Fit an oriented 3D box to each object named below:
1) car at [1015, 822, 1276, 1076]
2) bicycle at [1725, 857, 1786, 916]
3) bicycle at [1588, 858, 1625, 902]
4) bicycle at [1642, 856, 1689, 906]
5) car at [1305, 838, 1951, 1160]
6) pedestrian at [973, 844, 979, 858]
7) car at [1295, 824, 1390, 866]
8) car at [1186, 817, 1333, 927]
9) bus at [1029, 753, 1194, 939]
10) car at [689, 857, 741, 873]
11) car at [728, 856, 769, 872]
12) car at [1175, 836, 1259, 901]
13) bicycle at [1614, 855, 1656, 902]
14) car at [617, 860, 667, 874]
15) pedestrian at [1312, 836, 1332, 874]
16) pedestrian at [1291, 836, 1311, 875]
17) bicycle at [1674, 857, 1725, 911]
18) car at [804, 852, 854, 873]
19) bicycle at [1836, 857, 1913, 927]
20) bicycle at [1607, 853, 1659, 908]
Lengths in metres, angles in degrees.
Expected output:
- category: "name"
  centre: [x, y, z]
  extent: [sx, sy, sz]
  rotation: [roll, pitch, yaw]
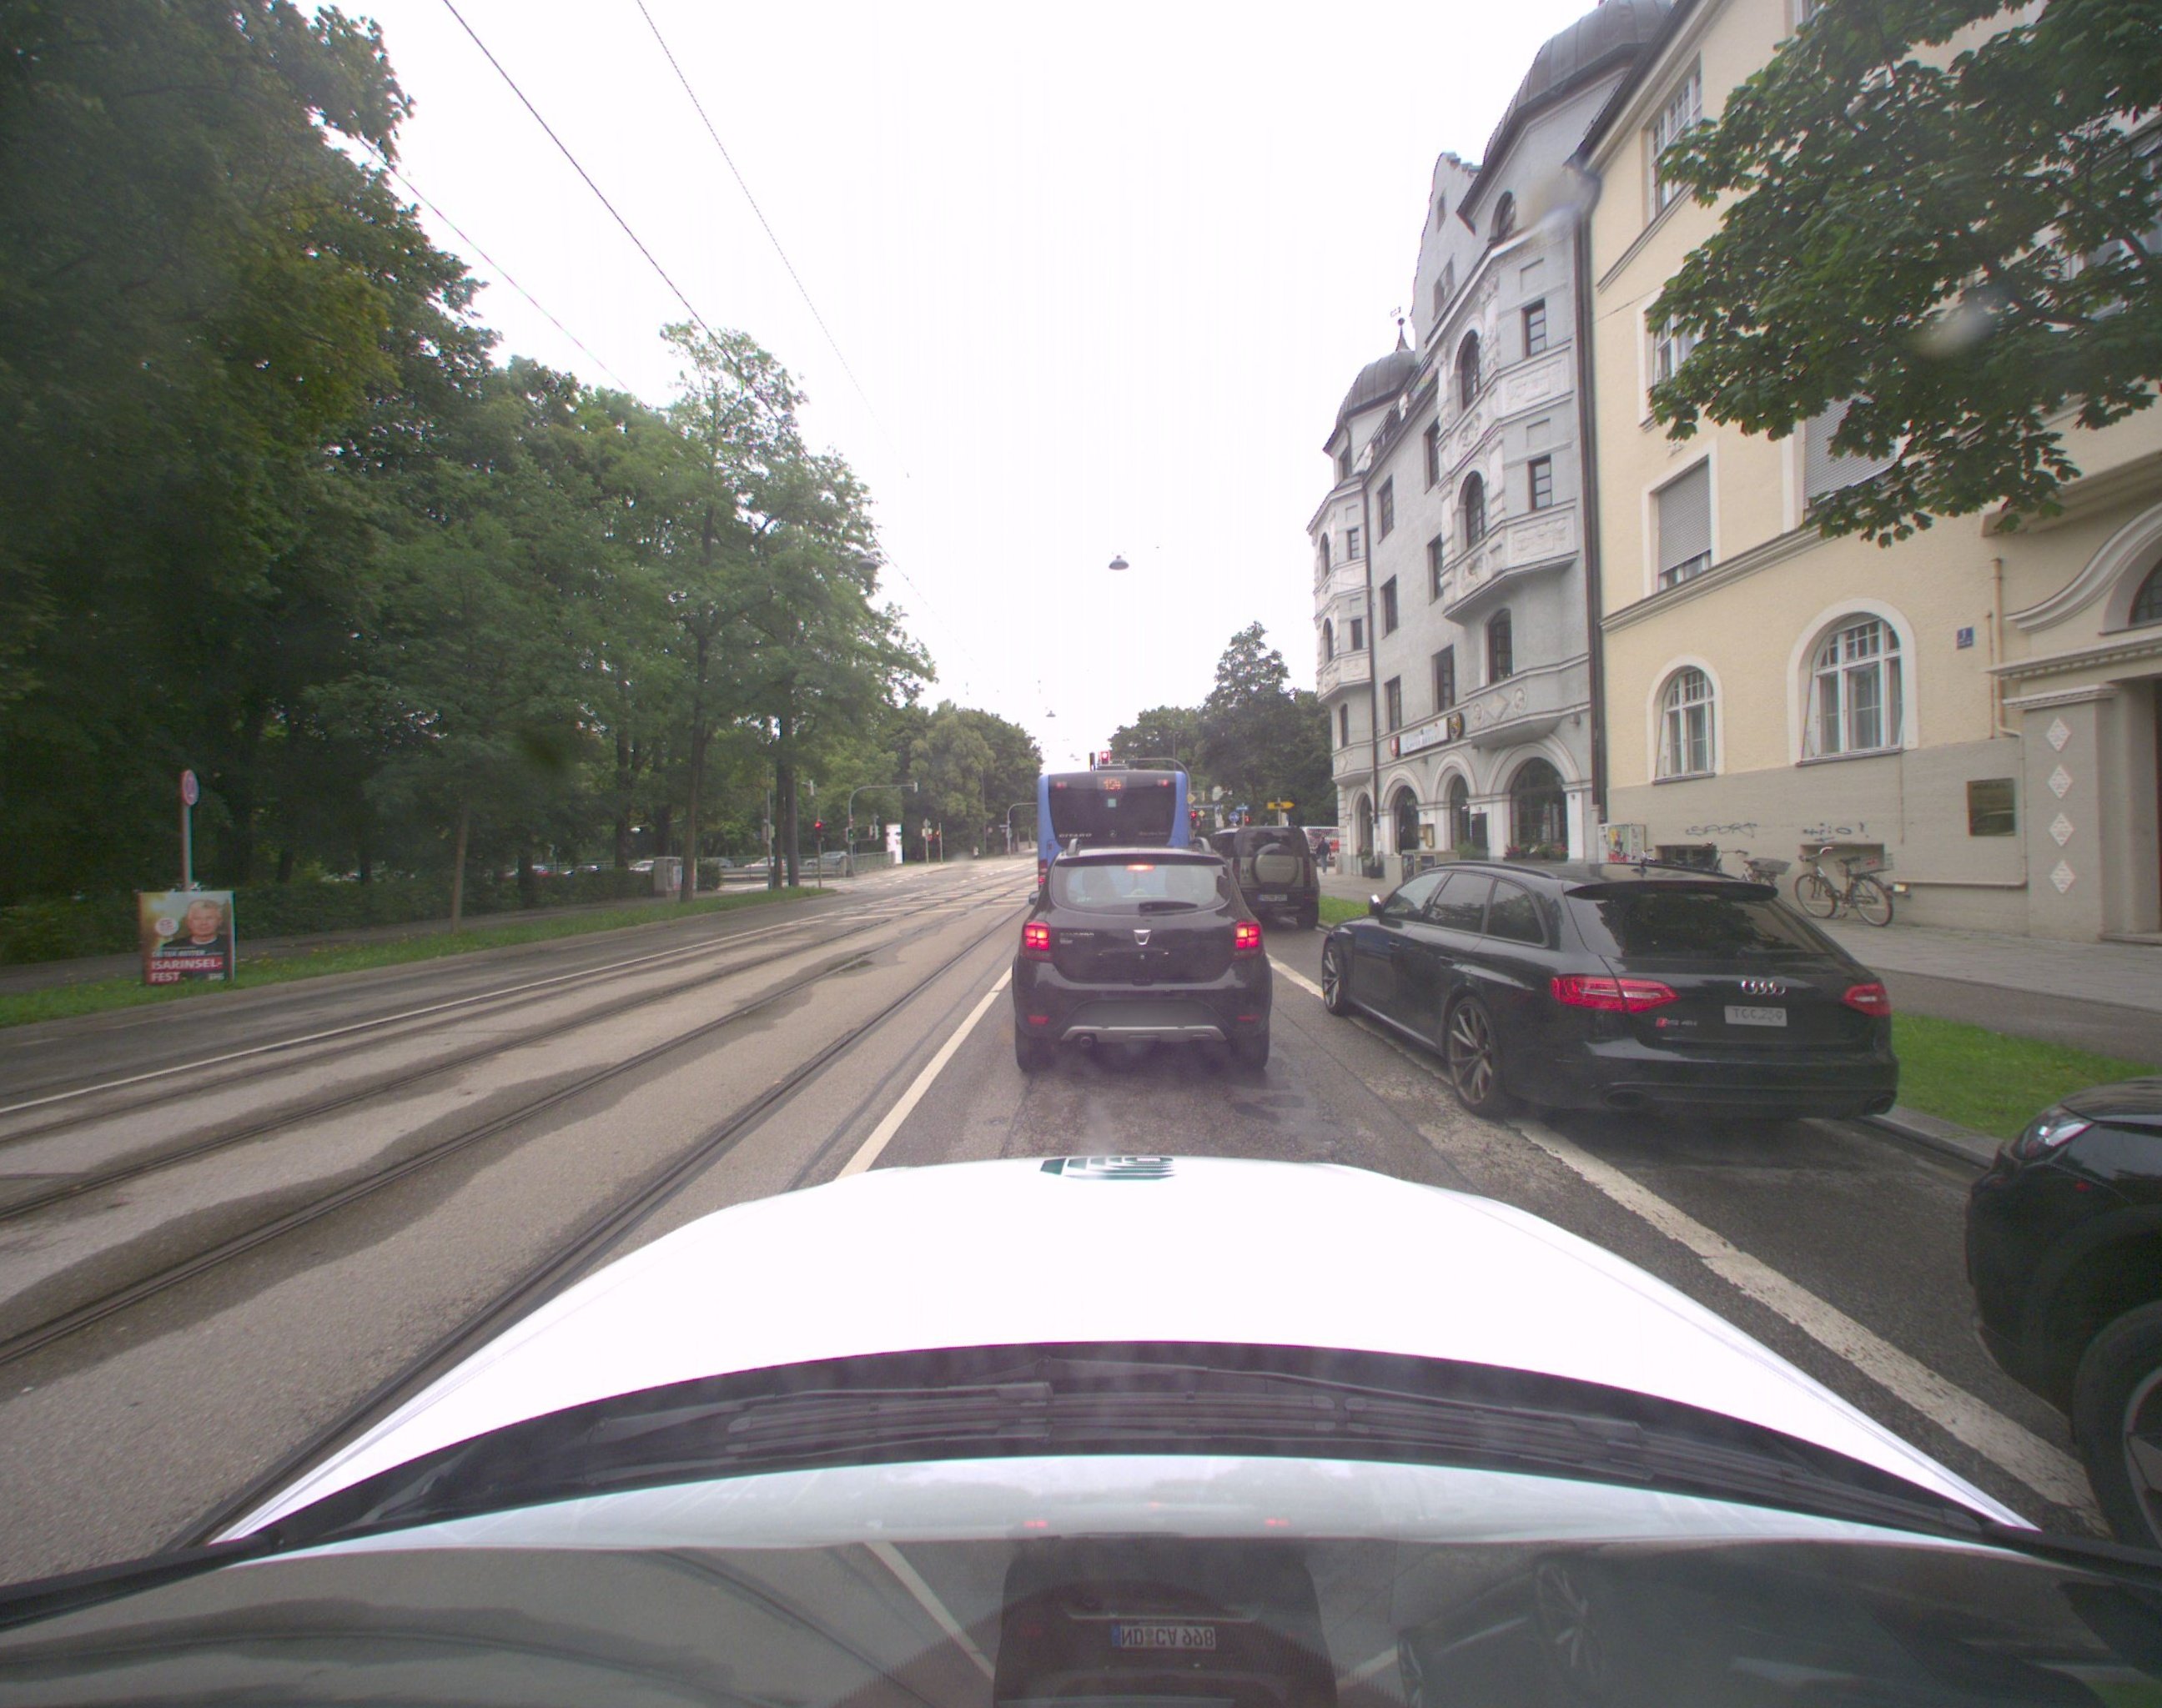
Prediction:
- category: "car"
  centre: [0.435, 0.580, 6.749]
  extent: [1.595, 1.556, 3.526]
  rotation: [0, 0, 1]
- category: "bicycle"
  centre: [11.000, 0.513, 13.302]
  extent: [0.284, 0.930, 0.886]
  rotation: [0, 0, 3]
- category: "bicycle"
  centre: [11.284, 0.546, 17.503]
  extent: [0.258, 0.930, 0.886]
  rotation: [0, 0, 3]
- category: "bicycle"
  centre: [11.192, 0.497, 15.606]
  extent: [0.304, 0.930, 0.886]
  rotation: [0, 0, 4]
- category: "car"
  centre: [3.061, 0.642, 5.924]
  extent: [1.709, 1.426, 4.603]
  rotation: [0, 0, 1]
- category: "pedestrian"
  centre: [-10.797, -0.318, 83.907]
  extent: [0.529, 1.501, 0.589]
  rotation: [0, 0, 6]
- category: "car"
  centre: [16.375, -0.551, 51.199]
  extent: [5.281, 2.612, 2.229]
  rotation: [0, 0, -2]
- category: "car"
  centre: [3.402, 0.303, 16.494]
  extent: [1.908, 1.905, 4.807]
  rotation: [0, 0, 0]
- category: "bus"
  centre: [0.501, -0.133, 16.625]
  extent: [2.670, 2.997, 6.960]
  rotation: [0, 0, 0]
- category: "car"
  centre: [-32.981, 1.020, 73.406]
  extent: [3.915, 1.404, 1.719]
  rotation: [0, 0, -3]
- category: "car"
  centre: [-29.929, 0.883, 73.334]
  extent: [3.103, 1.452, 1.249]
  rotation: [0, 0, -4]
- category: "car"
  centre: [3.572, 0.353, 22.118]
  extent: [1.708, 1.591, 4.329]
  rotation: [0, 0, 2]
- category: "bicycle"
  centre: [11.255, 0.493, 16.566]
  extent: [0.289, 0.930, 0.886]
  rotation: [0, 0, 3]
- category: "car"
  centre: [-39.396, 1.162, 73.091]
  extent: [3.720, 1.185, 1.249]
  rotation: [0, 0, -4]
- category: "pedestrian"
  centre: [11.195, 0.055, 37.809]
  extent: [0.702, 1.732, 0.843]
  rotation: [0, 0, 2]
- category: "pedestrian"
  centre: [10.376, 0.048, 38.428]
  extent: [0.702, 1.816, 0.870]
  rotation: [0, 0, 2]
- category: "bicycle"
  centre: [11.100, 0.520, 14.637]
  extent: [0.271, 0.930, 0.886]
  rotation: [0, 0, 3]
- category: "car"
  centre: [-22.866, 0.752, 73.967]
  extent: [4.015, 1.887, 1.488]
  rotation: [0, 0, -5]
- category: "bicycle"
  centre: [10.989, 0.510, 11.303]
  extent: [0.220, 0.930, 0.886]
  rotation: [0, 0, 1]
- category: "bicycle"
  centre: [10.813, 0.492, 15.986]
  extent: [0.241, 1.039, 1.224]
  rotation: [0, 0, 2]
